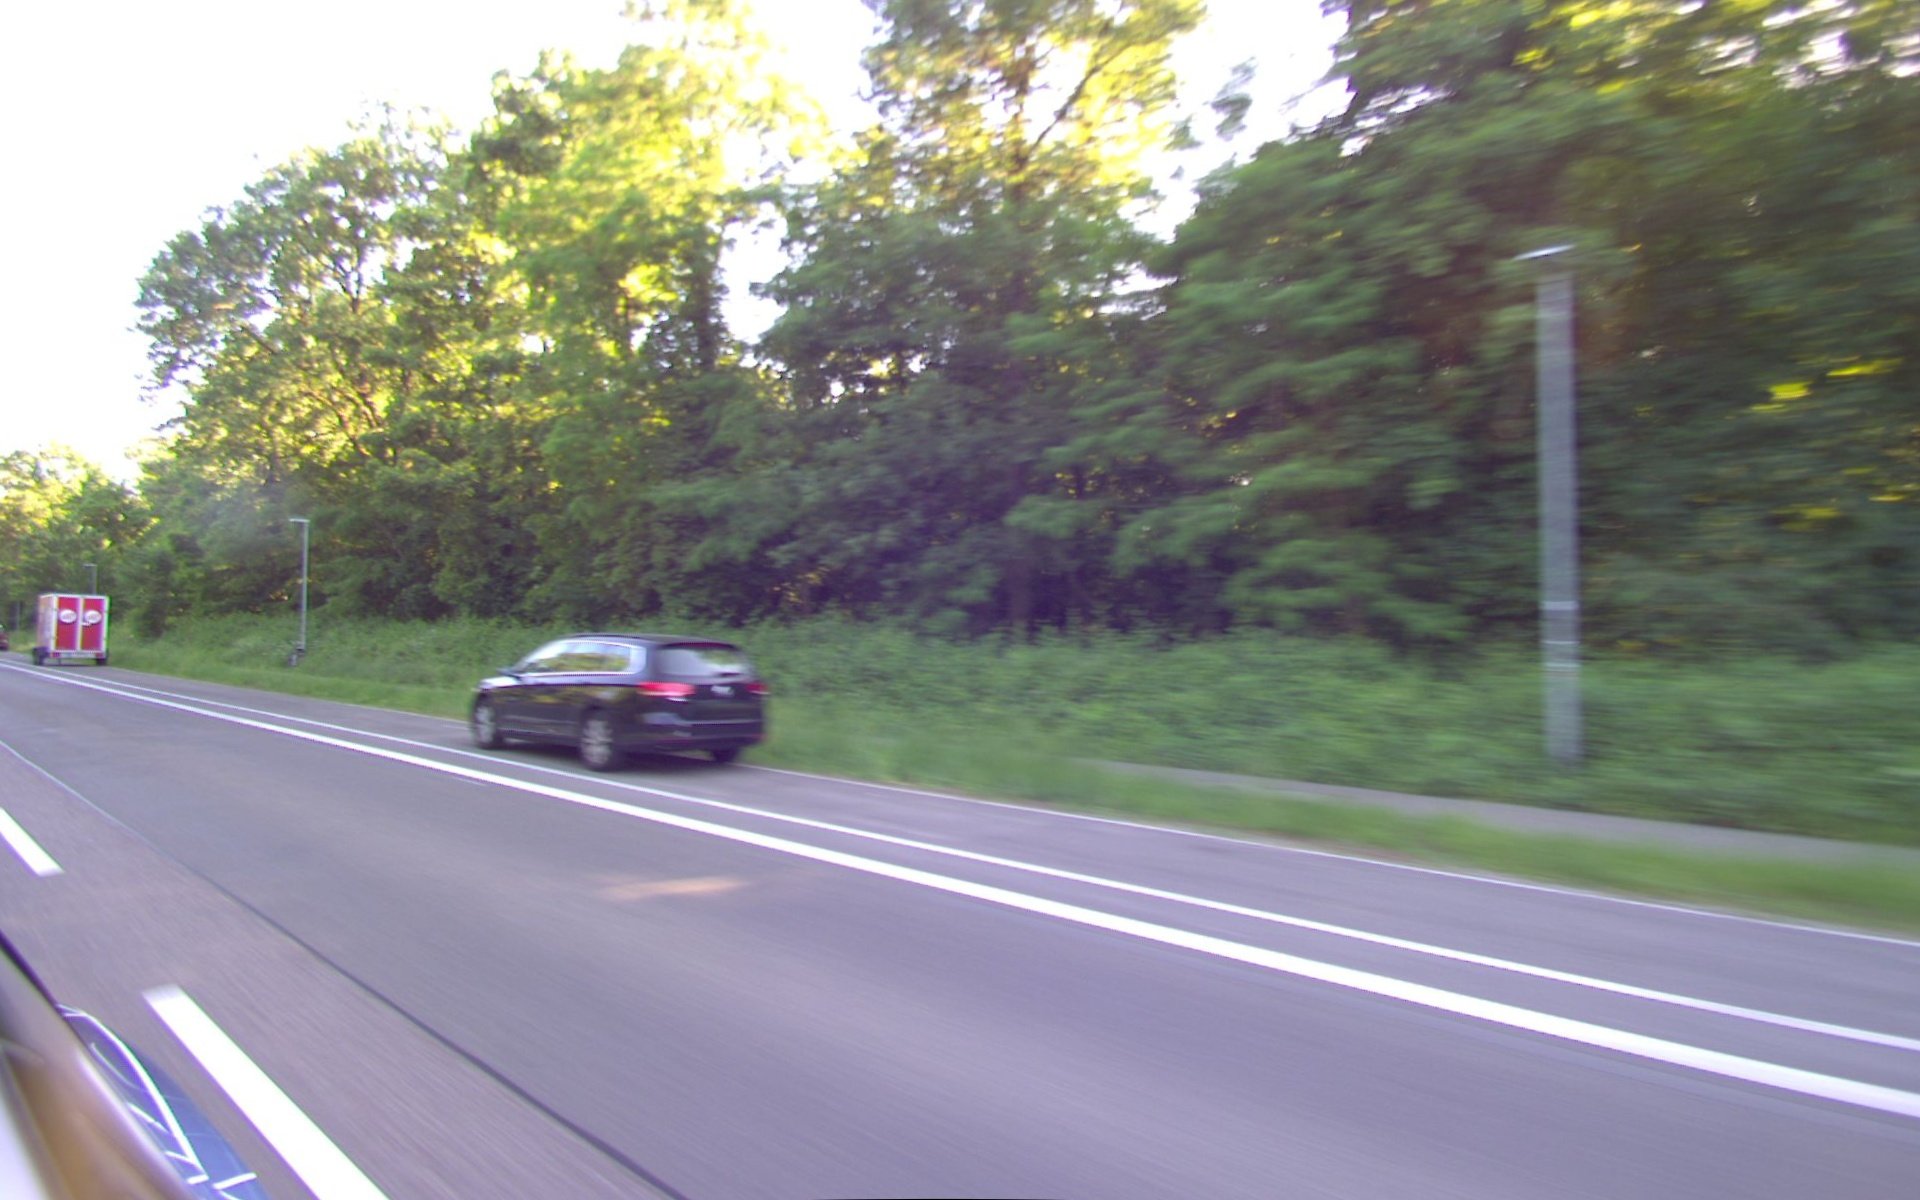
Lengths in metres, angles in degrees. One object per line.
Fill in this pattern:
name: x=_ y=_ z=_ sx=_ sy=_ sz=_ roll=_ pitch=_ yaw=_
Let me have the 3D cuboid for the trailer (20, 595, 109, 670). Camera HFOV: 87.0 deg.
trailer: x=-33.575 y=1.207 z=37.922 sx=4.084 sy=2.641 sz=1.972 roll=-1 pitch=-2 yaw=41

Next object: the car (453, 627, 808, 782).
car: x=-4.053 y=1.065 z=11.988 sx=4.782 sy=1.475 sz=1.835 roll=-1 pitch=-2 yaw=41

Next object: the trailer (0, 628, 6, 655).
trailer: x=-55.336 y=2.334 z=57.073 sx=4.464 sy=1.477 sz=1.822 roll=-1 pitch=-1 yaw=41
